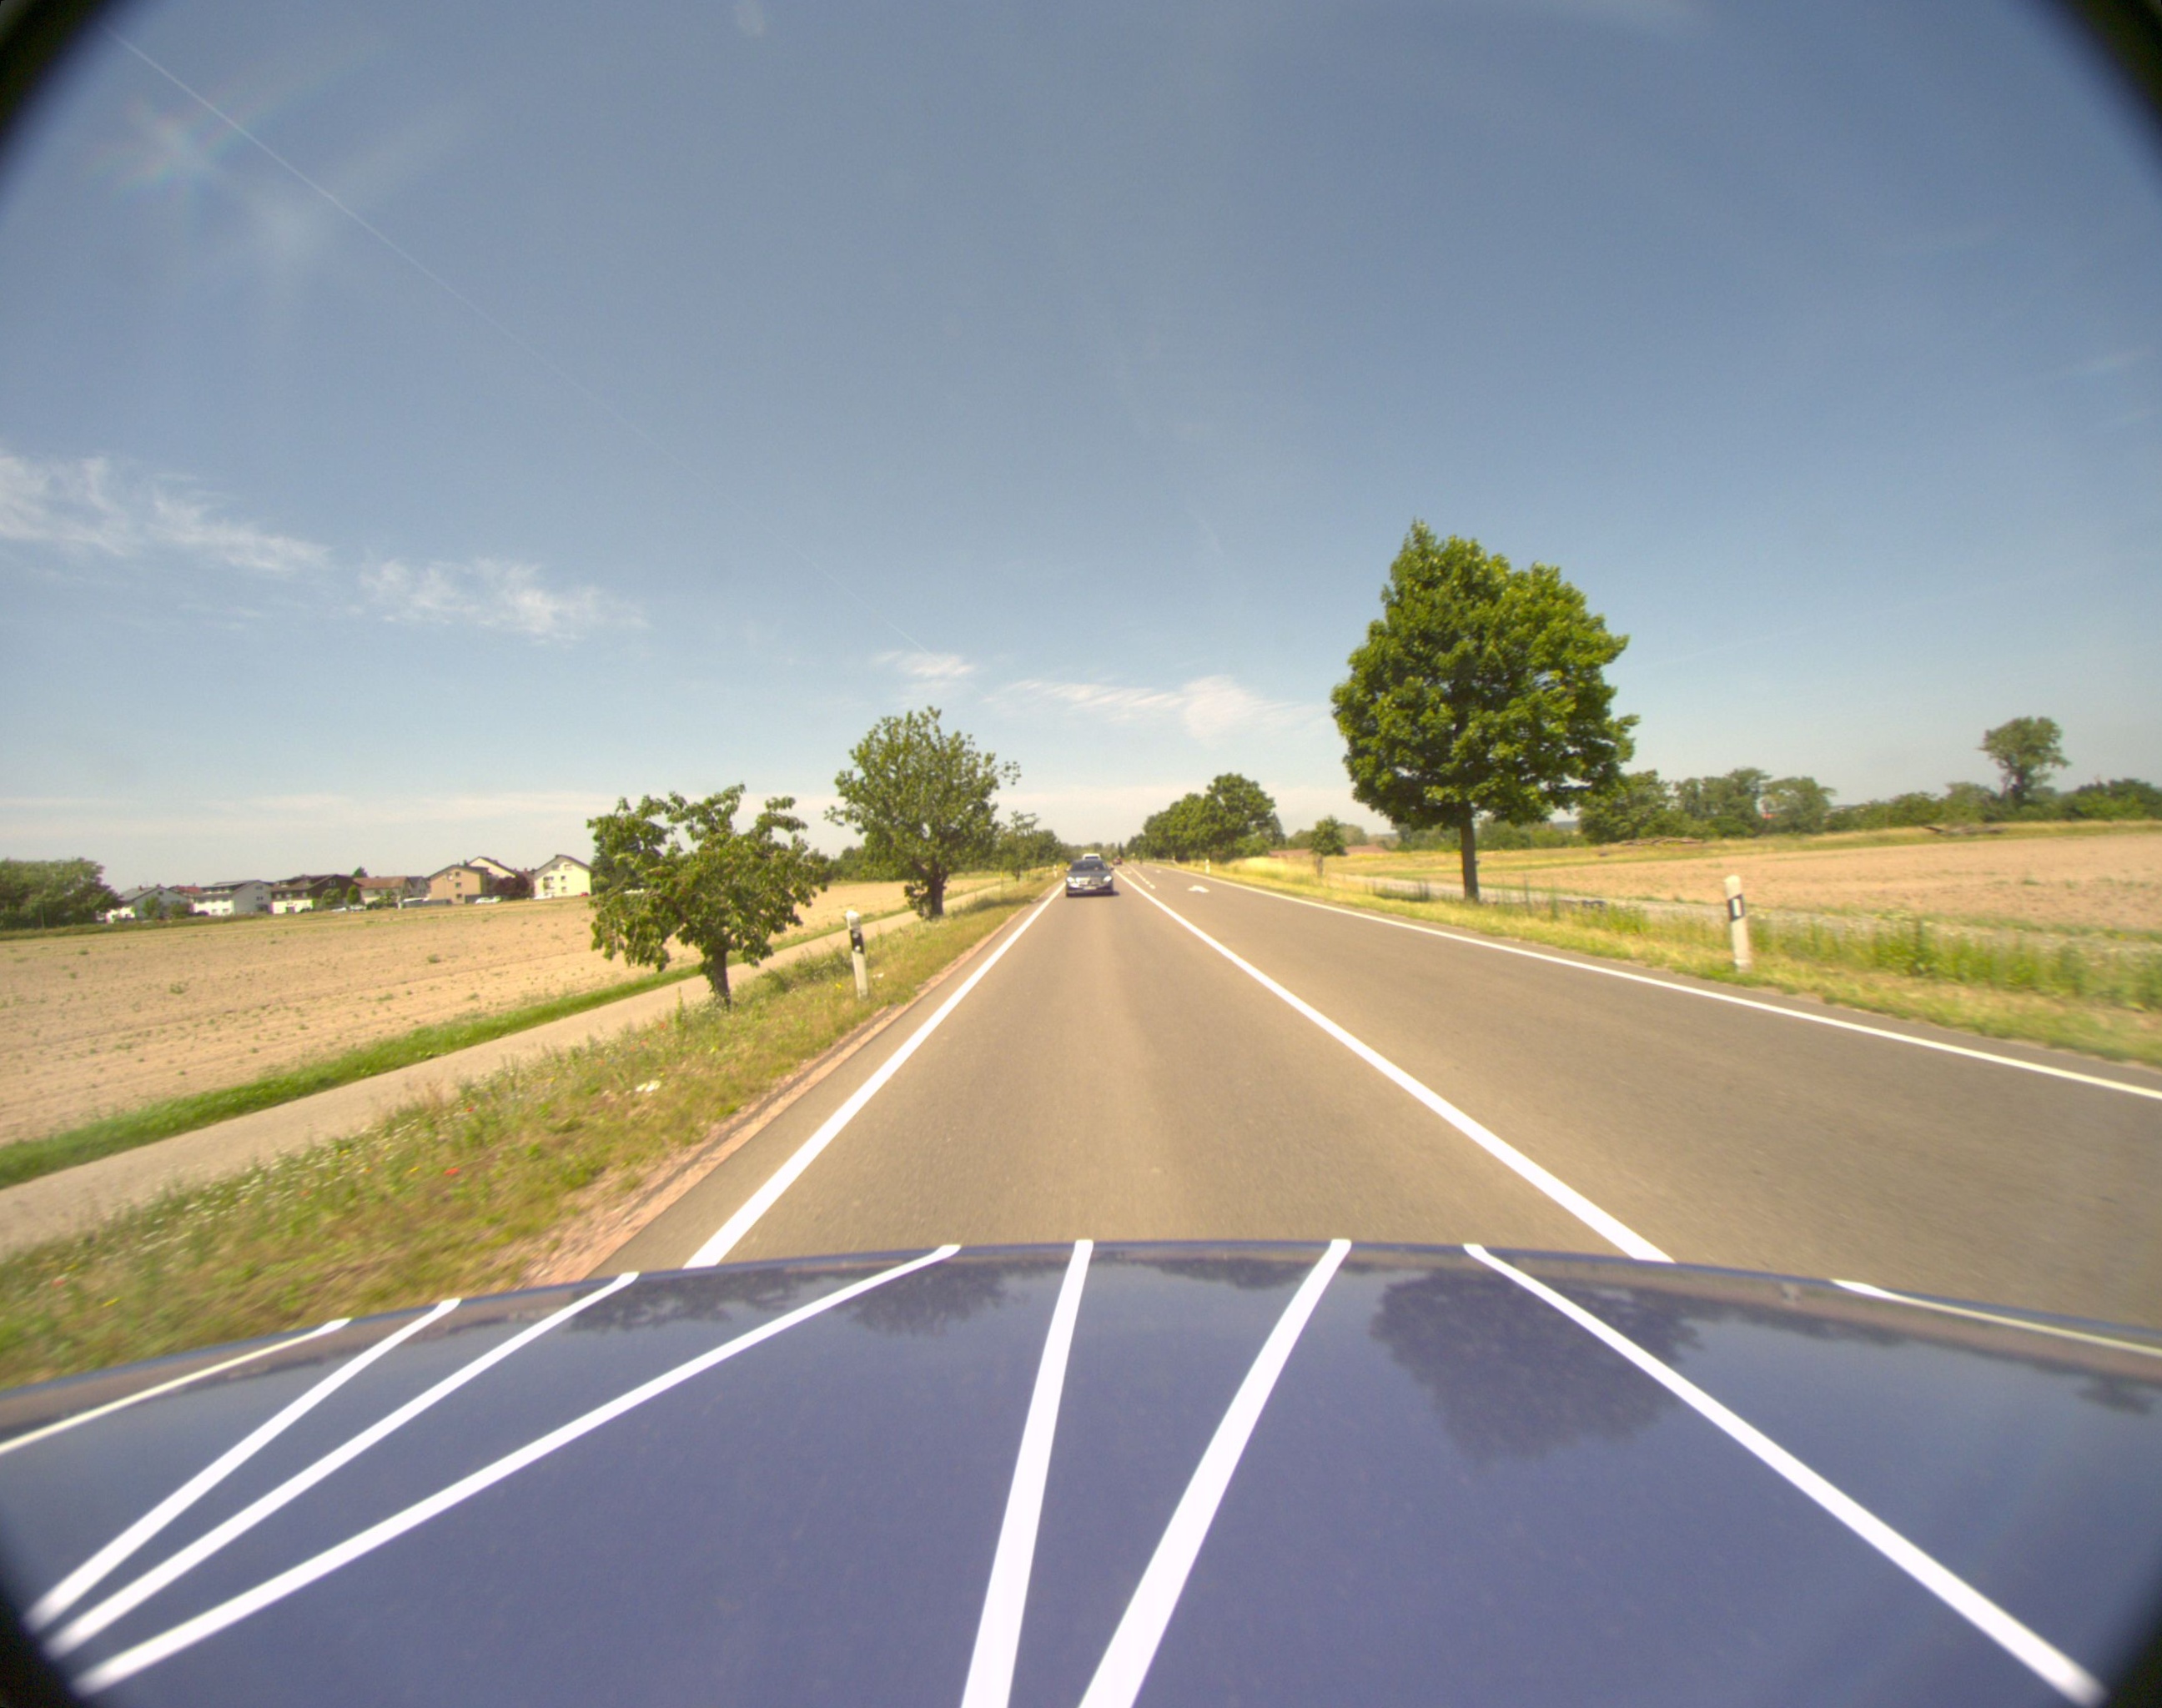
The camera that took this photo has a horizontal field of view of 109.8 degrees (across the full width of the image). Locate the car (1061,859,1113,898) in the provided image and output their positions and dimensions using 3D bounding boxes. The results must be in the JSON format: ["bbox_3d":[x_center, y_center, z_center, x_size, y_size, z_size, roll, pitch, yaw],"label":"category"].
[{"bbox_3d":[0.301,0.950,30.868,1.953,1.390,4.000,-1,0,2],"label":"car"}]

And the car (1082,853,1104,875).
[{"bbox_3d":[1.167,0.956,74.132,1.998,1.907,4.206,-3,0,1],"label":"car"}]

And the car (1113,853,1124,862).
[{"bbox_3d":[7.266,0.724,148.761,1.998,1.543,4.317,-3,0,2],"label":"car"}]
